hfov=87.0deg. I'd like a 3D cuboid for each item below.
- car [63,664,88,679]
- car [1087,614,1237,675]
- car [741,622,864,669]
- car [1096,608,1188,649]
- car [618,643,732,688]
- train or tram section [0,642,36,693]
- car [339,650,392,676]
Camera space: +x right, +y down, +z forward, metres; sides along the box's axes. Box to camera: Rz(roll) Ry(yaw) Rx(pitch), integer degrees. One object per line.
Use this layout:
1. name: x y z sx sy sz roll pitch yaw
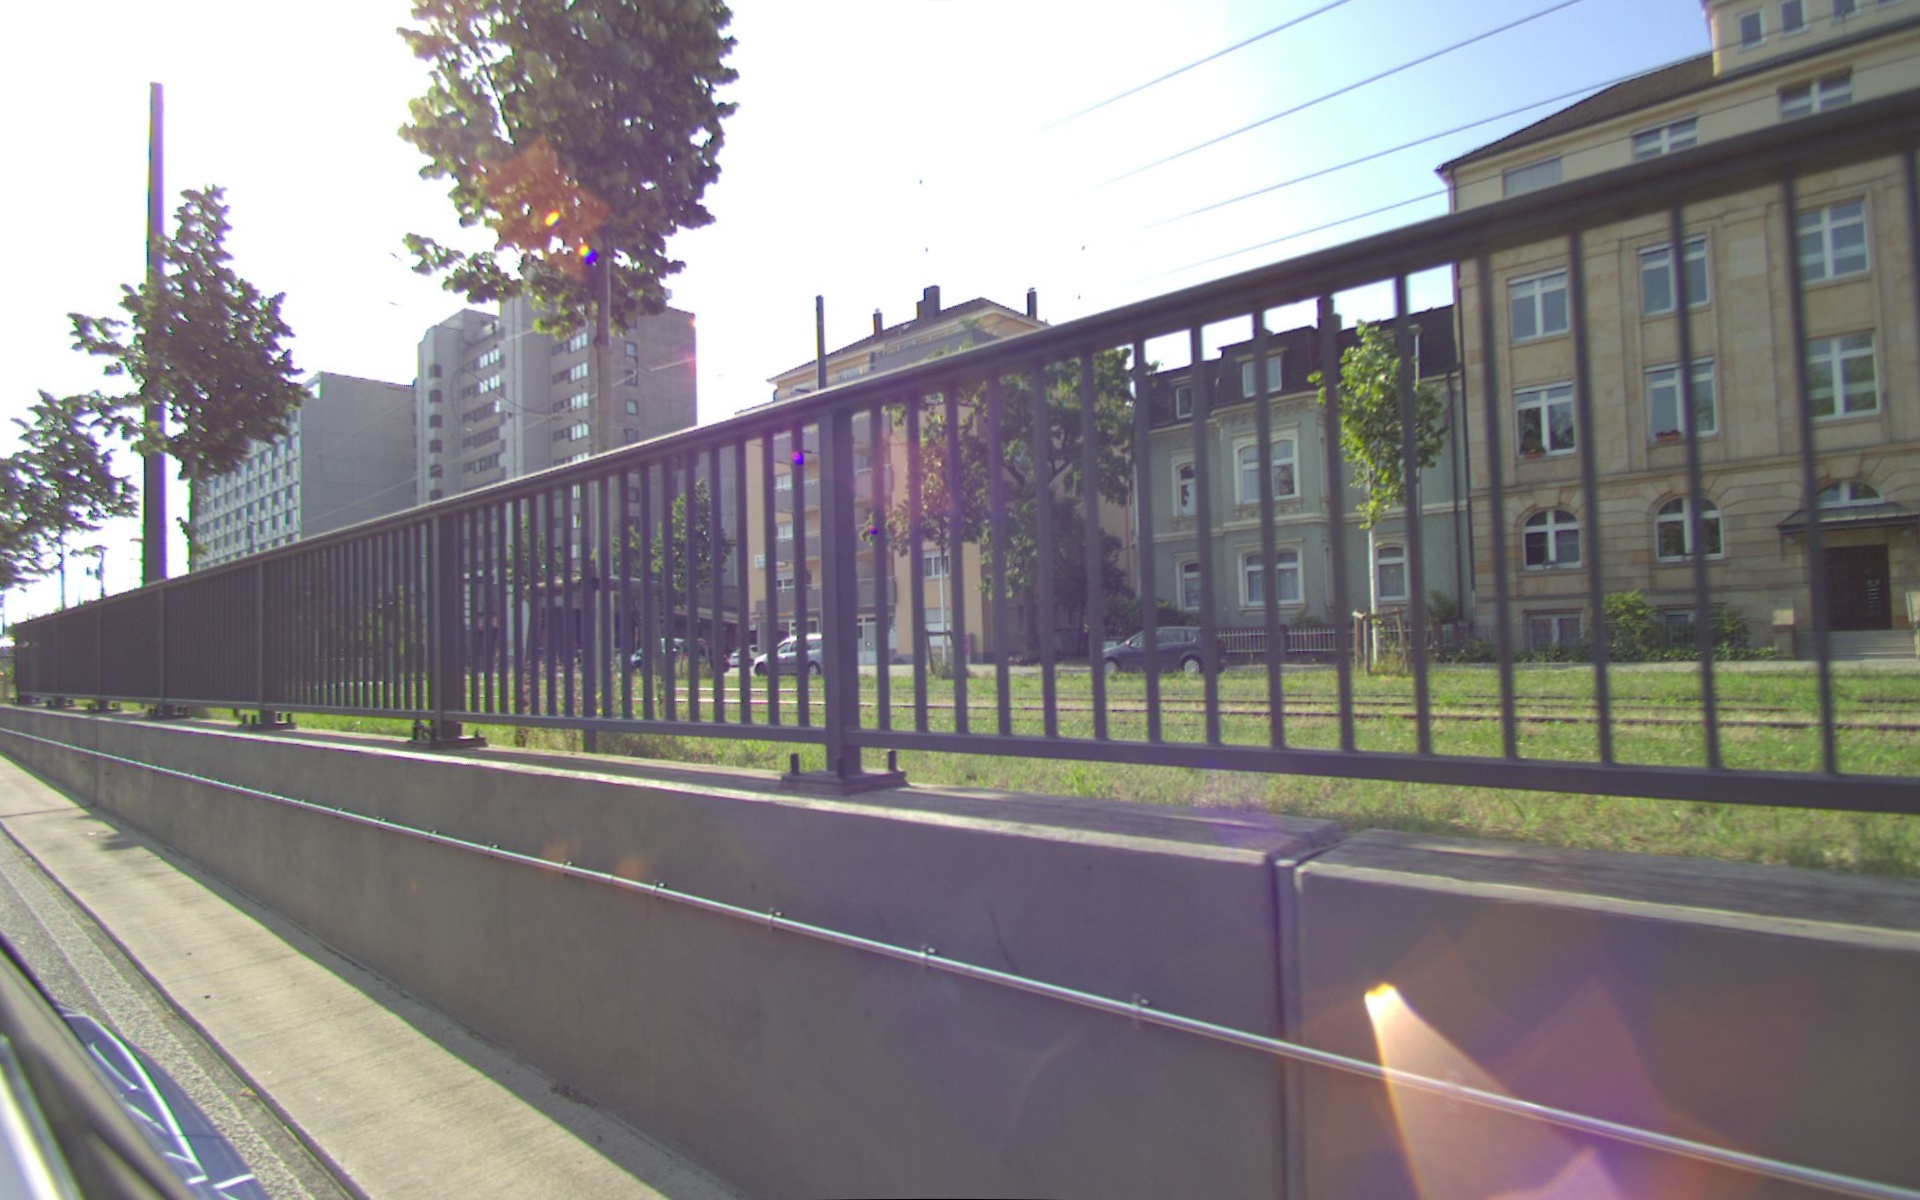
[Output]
1. car: -94.825 7.708 108.488 4.001 1.492 1.787 -4 -3 45
2. car: 5.600 1.267 28.376 3.821 1.475 1.503 -6 -5 40
3. car: -5.851 1.696 37.394 4.523 1.589 1.974 -4 -4 39
4. car: 8.507 1.328 47.127 2.164 1.762 4.581 -4 -4 40
5. car: -10.670 2.459 37.745 4.394 1.524 1.973 -4 -3 40
6. train or tram section: -66.962 4.772 71.098 6.669 3.456 2.466 -4 -4 43
7. car: -49.201 5.207 83.832 1.854 1.983 4.108 -2 -2 2
